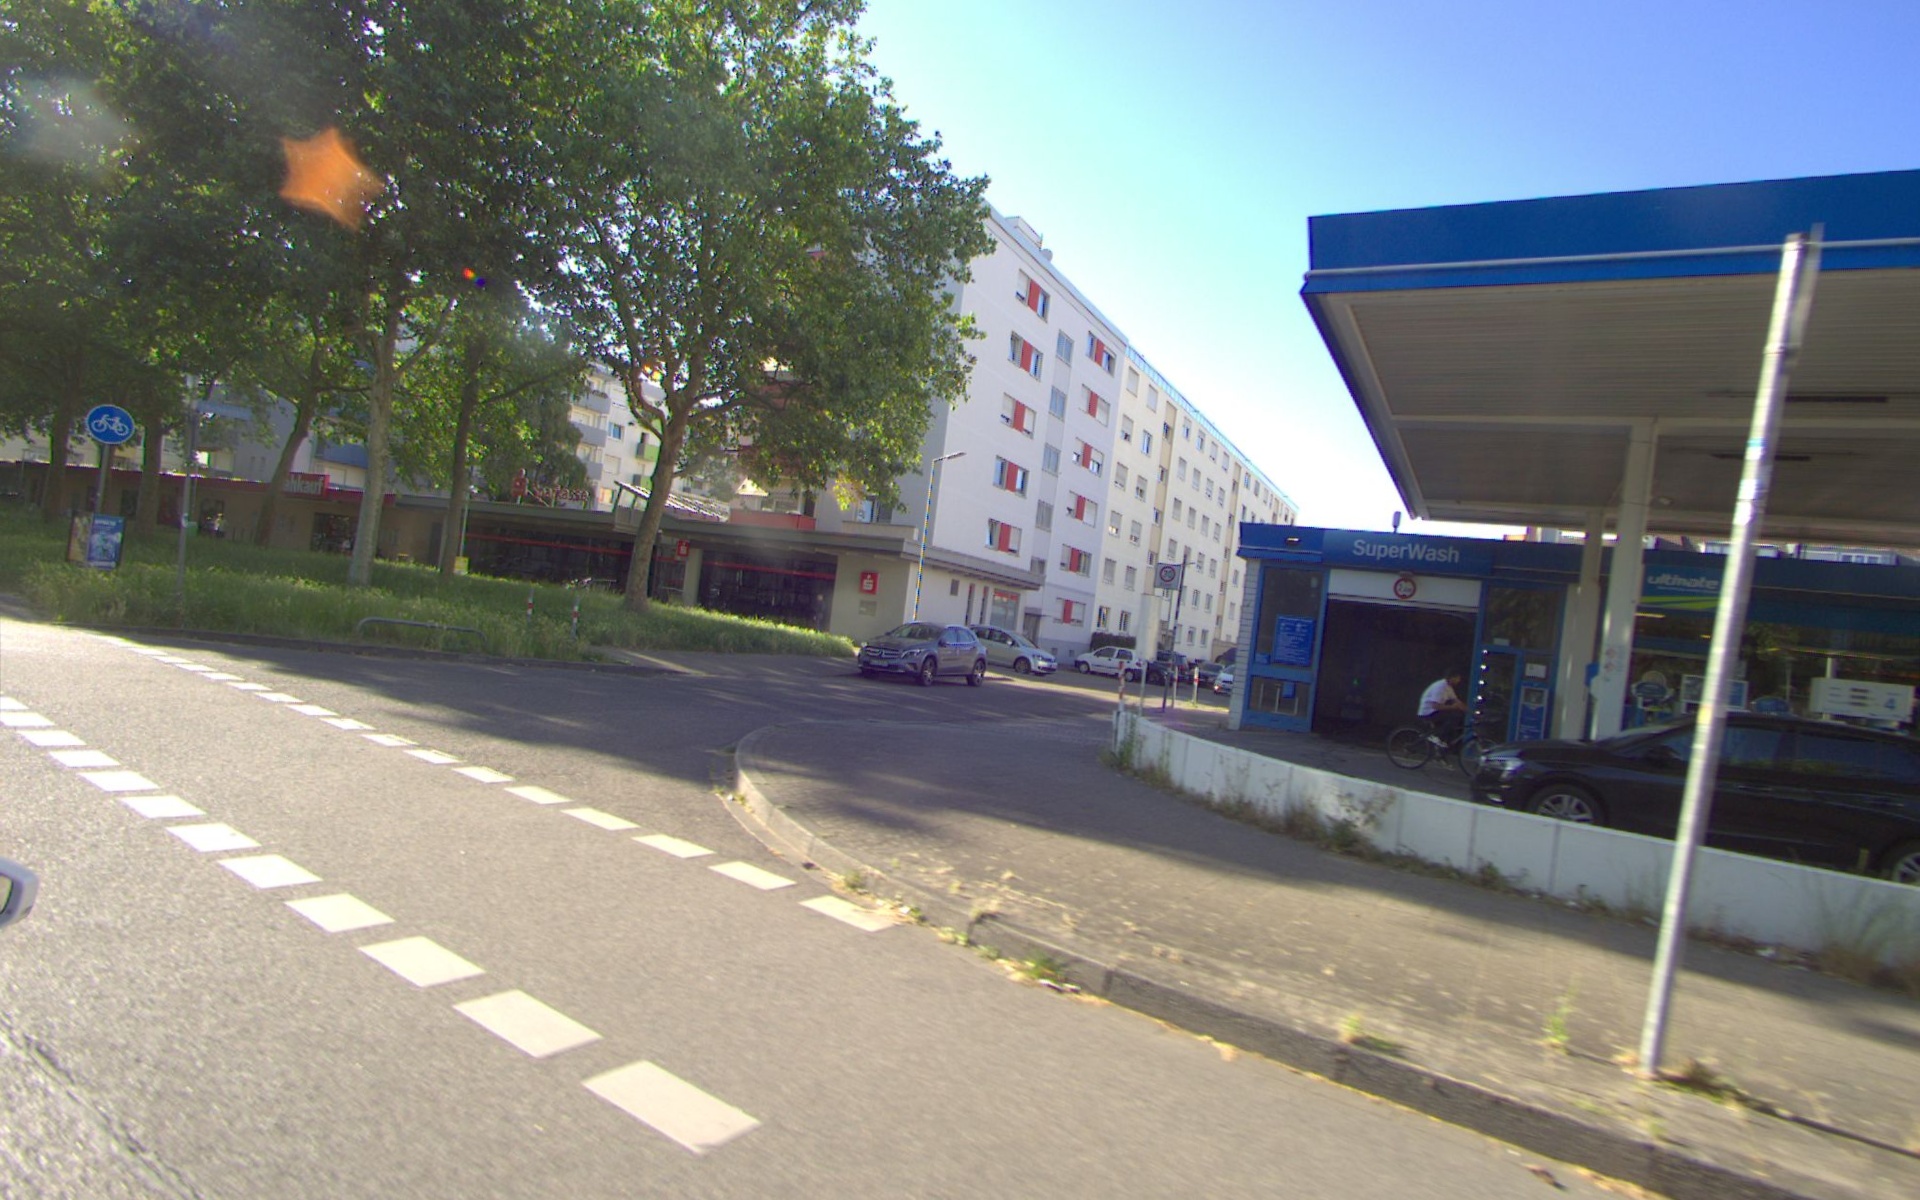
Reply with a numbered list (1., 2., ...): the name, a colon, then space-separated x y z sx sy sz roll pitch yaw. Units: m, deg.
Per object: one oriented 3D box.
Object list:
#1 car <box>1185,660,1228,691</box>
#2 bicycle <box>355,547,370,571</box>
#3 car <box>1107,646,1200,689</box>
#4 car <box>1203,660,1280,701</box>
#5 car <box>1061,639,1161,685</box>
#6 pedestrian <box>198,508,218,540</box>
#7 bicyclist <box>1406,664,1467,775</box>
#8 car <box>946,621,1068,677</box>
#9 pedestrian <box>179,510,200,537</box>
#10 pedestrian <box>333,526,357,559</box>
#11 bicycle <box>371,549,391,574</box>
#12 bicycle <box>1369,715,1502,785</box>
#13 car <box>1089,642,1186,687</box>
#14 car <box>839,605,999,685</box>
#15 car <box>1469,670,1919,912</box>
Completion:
1. car: 13.955 4.277 56.804 1.617 1.440 4.001 7 -2 23
2. bicycle: -32.542 -2.240 54.786 0.593 1.193 1.836 9 -2 -31
3. car: 9.957 3.456 51.827 4.134 1.576 1.980 7 -1 31
4. car: 12.923 3.717 46.108 1.892 1.440 3.535 7 -2 43
5. car: 7.192 2.946 47.940 4.134 1.576 1.980 7 -1 31
6. pedestrian: -43.578 -4.396 58.323 0.703 1.721 0.496 8 0 26
7. bicyclist: 7.095 1.775 14.981 0.618 1.538 0.540 7 0 30
8. car: 1.747 1.822 37.655 4.044 1.521 1.874 7 -2 30
9. pedestrian: -44.099 -4.388 57.568 0.703 1.448 0.533 8 0 26
10. pedestrian: -32.962 -3.064 53.920 0.703 1.603 0.672 8 0 26
11. bicycle: -31.172 -2.070 54.168 0.594 1.193 1.832 9 -2 -37
12. bicycle: 7.061 2.208 14.965 1.679 0.723 0.540 7 -1 30
13. car: 8.743 3.171 49.689 4.134 1.576 1.980 7 -1 31
14. car: -0.923 1.182 25.185 1.949 1.549 4.201 7 -2 29
15. car: 7.015 1.688 9.319 3.936 1.480 1.725 7 -1 29
